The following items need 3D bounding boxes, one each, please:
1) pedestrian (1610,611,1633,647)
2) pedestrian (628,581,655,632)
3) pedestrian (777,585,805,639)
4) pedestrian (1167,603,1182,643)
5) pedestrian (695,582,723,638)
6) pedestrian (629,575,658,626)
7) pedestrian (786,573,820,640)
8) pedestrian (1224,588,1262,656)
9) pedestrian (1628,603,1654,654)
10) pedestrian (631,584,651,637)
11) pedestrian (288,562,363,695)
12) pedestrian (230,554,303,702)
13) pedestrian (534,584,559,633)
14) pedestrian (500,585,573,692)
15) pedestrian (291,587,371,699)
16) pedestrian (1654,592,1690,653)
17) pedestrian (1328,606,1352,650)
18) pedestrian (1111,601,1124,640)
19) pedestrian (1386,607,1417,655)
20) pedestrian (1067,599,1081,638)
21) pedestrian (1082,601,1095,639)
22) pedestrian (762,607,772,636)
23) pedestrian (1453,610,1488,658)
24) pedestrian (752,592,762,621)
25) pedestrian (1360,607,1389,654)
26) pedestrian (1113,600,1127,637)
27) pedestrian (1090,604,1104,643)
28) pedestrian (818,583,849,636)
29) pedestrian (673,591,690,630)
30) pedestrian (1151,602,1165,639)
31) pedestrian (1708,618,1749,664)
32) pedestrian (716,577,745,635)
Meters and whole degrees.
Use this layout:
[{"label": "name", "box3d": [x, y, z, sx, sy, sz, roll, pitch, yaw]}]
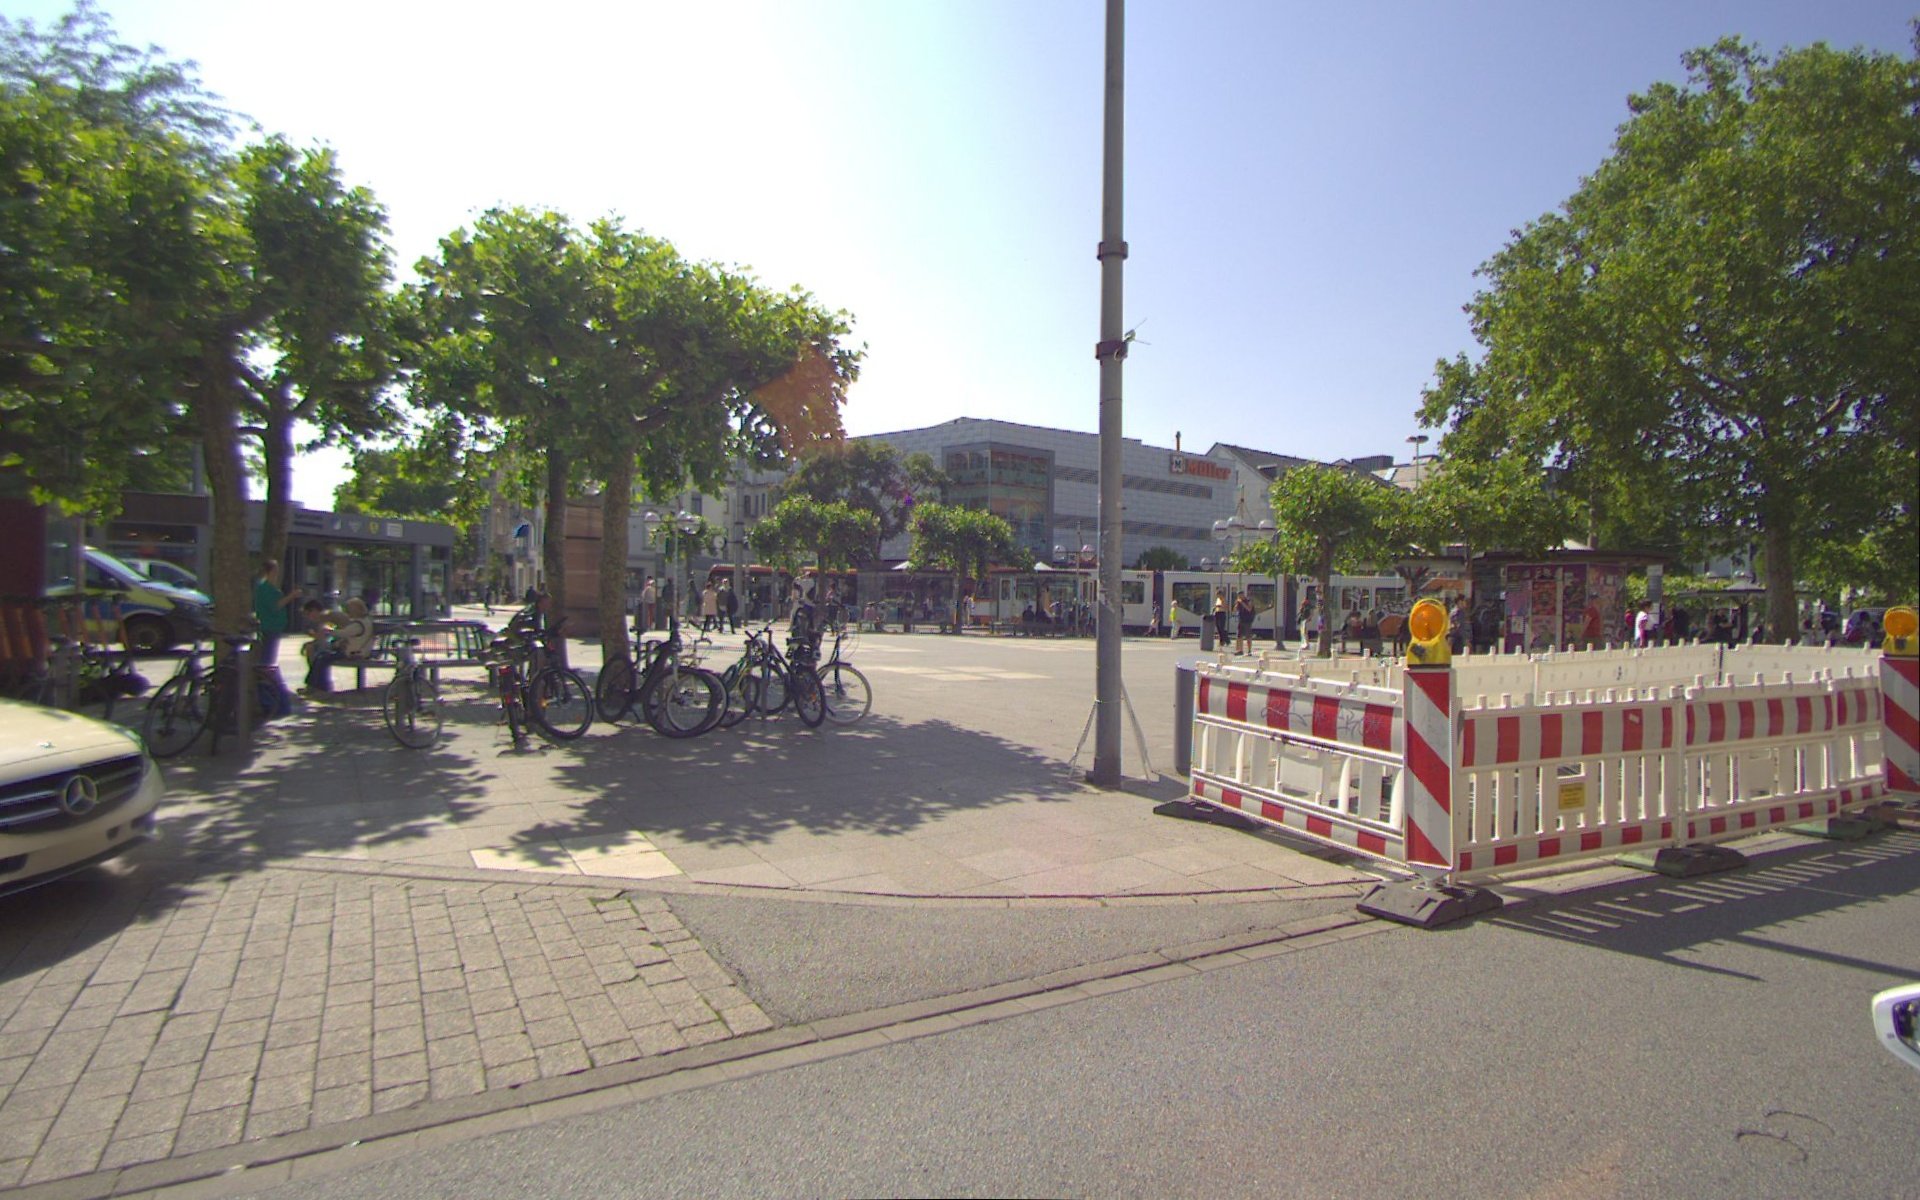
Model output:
[{"label": "pedestrian", "box3d": [29.123, 1.279, 44.212, 0.739, 1.534, 0.600, 1, 0, -37]}, {"label": "pedestrian", "box3d": [-10.536, 0.202, 33.251, 0.600, 1.643, 0.796, 1, 1, -35]}, {"label": "pedestrian", "box3d": [-5.691, 0.390, 33.877, 0.600, 1.773, 0.796, 1, 1, -35]}, {"label": "pedestrian", "box3d": [9.587, 1.012, 44.849, 0.594, 1.773, 0.747, 1, 0, 9]}, {"label": "pedestrian", "box3d": [-8.191, 0.327, 32.747, 0.600, 1.773, 0.796, 1, 1, -35]}, {"label": "pedestrian", "box3d": [-11.051, 0.015, 35.069, 0.792, 1.773, 0.602, 3, 2, 44]}, {"label": "pedestrian", "box3d": [-4.376, 0.176, 27.979, 0.600, 1.823, 0.796, 1, 1, -35]}, {"label": "pedestrian", "box3d": [7.560, 0.567, 26.845, 0.788, 1.773, 0.606, 2, 1, 1]}, {"label": "pedestrian", "box3d": [21.992, 0.922, 32.452, 0.489, 1.624, 0.500, 1, -2, -10]}, {"label": "pedestrian", "box3d": [-10.804, 0.346, 34.019, 0.498, 1.773, 0.540, 1, 1, -35]}, {"label": "pedestrian", "box3d": [-8.112, 0.345, 12.843, 0.668, 1.627, 0.795, 0, 1, -43]}, {"label": "pedestrian", "box3d": [-8.315, 0.319, 12.037, 0.681, 1.700, 0.666, 1, 1, -38]}, {"label": "pedestrian", "box3d": [-14.377, 0.287, 34.932, 0.566, 1.660, 0.603, 3, 2, 41]}, {"label": "pedestrian", "box3d": [-5.761, 0.510, 13.701, 0.884, 1.400, 0.670, 1, 1, -21]}, {"label": "pedestrian", "box3d": [-7.741, 0.508, 12.368, 0.663, 1.326, 0.683, 2, 1, 43]}, {"label": "pedestrian", "box3d": [21.741, 0.690, 30.674, 0.604, 1.833, 0.634, 1, -2, -10]}, {"label": "pedestrian", "box3d": [11.386, 0.840, 30.089, 0.600, 1.279, 0.611, 1, 0, 16]}, {"label": "pedestrian", "box3d": [7.417, 0.956, 47.290, 0.594, 1.773, 0.747, 1, 0, 9]}, {"label": "pedestrian", "box3d": [12.101, 0.840, 27.550, 0.599, 1.279, 0.613, 1, 0, 6]}, {"label": "pedestrian", "box3d": [5.352, 0.868, 47.267, 0.594, 1.773, 0.747, 1, 0, 9]}, {"label": "pedestrian", "box3d": [6.095, 0.952, 47.676, 0.594, 1.773, 0.747, 1, 0, 9]}, {"label": "pedestrian", "box3d": [-11.072, 1.226, 57.537, 0.435, 1.695, 0.450, 1, 0, 5]}, {"label": "pedestrian", "box3d": [13.961, 0.915, 27.467, 0.599, 1.279, 0.612, 1, 0, -4]}, {"label": "pedestrian", "box3d": [-11.907, 0.400, 58.893, 0.435, 1.695, 0.450, 1, 0, 5]}, {"label": "pedestrian", "box3d": [11.690, 0.852, 28.348, 0.602, 1.279, 0.610, 1, 0, 38]}, {"label": "pedestrian", "box3d": [7.620, 0.871, 47.847, 0.594, 1.773, 0.747, 1, 0, 9]}, {"label": "pedestrian", "box3d": [6.318, 1.072, 46.324, 0.594, 1.773, 0.747, 1, 0, 9]}, {"label": "pedestrian", "box3d": [-3.861, 0.279, 30.665, 0.600, 1.582, 0.796, 1, 1, -35]}, {"label": "pedestrian", "box3d": [-12.258, 0.457, 44.246, 0.598, 1.660, 0.571, 1, 1, -25]}, {"label": "pedestrian", "box3d": [9.534, 0.984, 48.443, 0.594, 1.773, 0.804, 1, 0, 9]}, {"label": "pedestrian", "box3d": [22.958, 1.221, 29.996, 0.717, 1.310, 0.633, 1, 0, -9]}, {"label": "pedestrian", "box3d": [-7.163, 0.170, 31.353, 0.600, 1.773, 0.796, 1, 1, -35]}]
